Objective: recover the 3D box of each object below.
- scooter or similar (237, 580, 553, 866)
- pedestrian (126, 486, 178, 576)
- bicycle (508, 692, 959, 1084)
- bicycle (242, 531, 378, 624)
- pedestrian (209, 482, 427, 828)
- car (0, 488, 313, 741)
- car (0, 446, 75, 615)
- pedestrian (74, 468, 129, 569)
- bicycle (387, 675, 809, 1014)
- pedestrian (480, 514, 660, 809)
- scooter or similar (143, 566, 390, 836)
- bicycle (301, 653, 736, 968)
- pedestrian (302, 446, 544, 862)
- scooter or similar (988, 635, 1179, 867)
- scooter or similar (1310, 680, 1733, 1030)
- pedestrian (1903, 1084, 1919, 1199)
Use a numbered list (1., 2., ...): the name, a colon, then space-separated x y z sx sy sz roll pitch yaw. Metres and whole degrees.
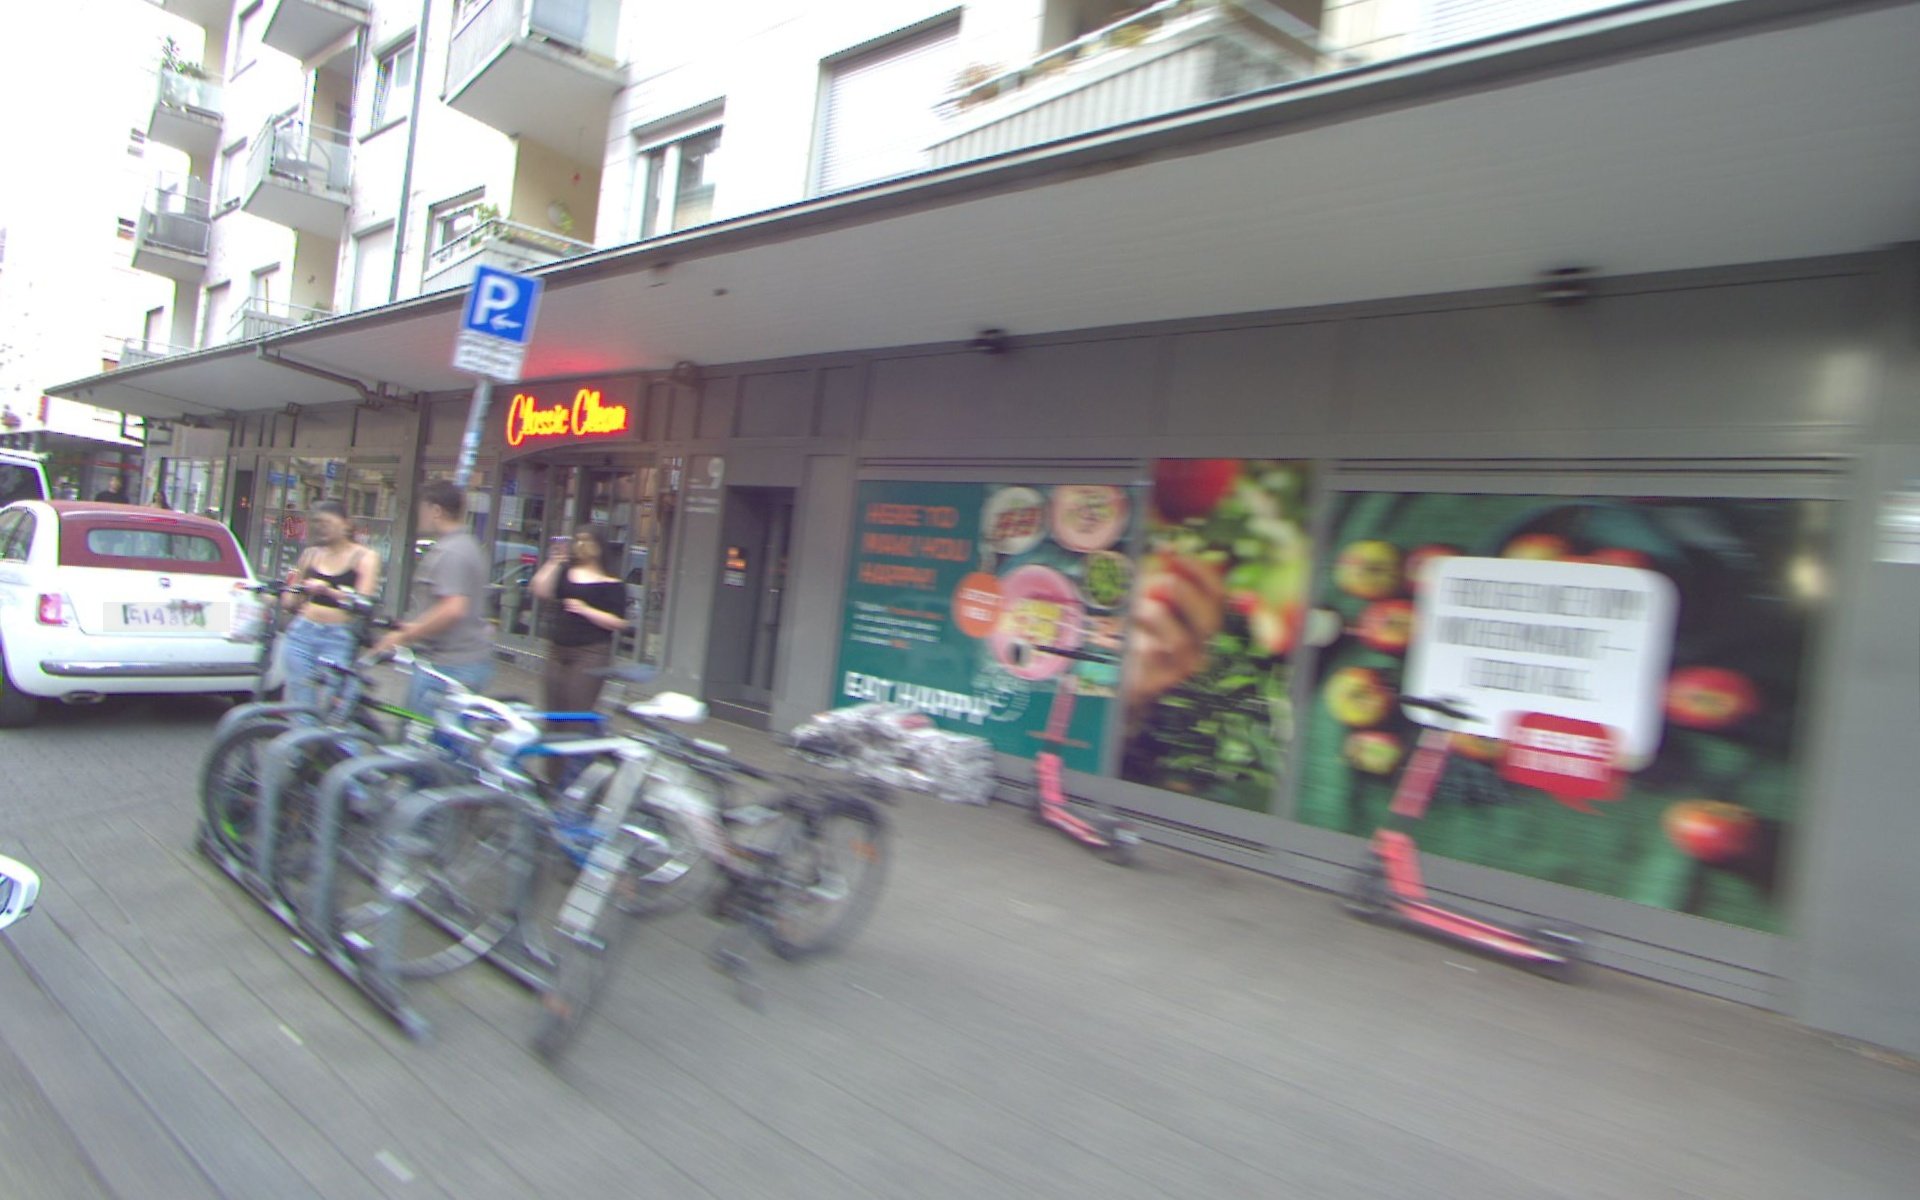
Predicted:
1. scooter or similar: -2.741 0.564 4.971 0.528 1.186 1.160 9 2 32
2. pedestrian: -16.093 -1.357 20.048 0.705 1.687 0.736 4 1 -40
3. bicycle: -0.703 0.876 3.578 0.503 1.014 1.546 6 1 36
4. bicycle: -9.708 -0.332 15.022 1.681 1.211 0.911 6 2 26
5. pedestrian: -3.276 0.270 5.183 0.581 1.620 0.647 6 2 -1
6. car: -6.571 -0.009 7.724 3.372 1.520 1.591 7 1 37
7. car: -13.647 -1.099 13.453 4.930 1.999 1.955 7 2 40
8. pedestrian: -16.760 -1.572 19.662 0.705 1.851 0.851 4 1 -40
9. bicycle: -1.298 0.815 3.845 0.503 0.996 1.416 6 1 36
10. pedestrian: -2.374 0.358 6.172 0.713 1.653 0.562 6 2 5
11. scooter or similar: -3.516 0.454 5.203 0.528 1.186 1.160 7 2 -11
12. bicycle: -1.723 0.771 4.081 1.474 1.015 0.504 5 1 -44
13. pedestrian: -2.519 0.245 4.804 0.651 1.779 0.737 6 2 -5
14. scooter or similar: 0.732 0.894 6.283 0.530 1.218 1.157 7 0 -24
15. scooter or similar: 2.595 1.098 4.810 0.476 1.233 1.604 5 0 -43
16. pedestrian: 2.727 0.919 2.033 0.867 1.674 0.663 5 3 2
